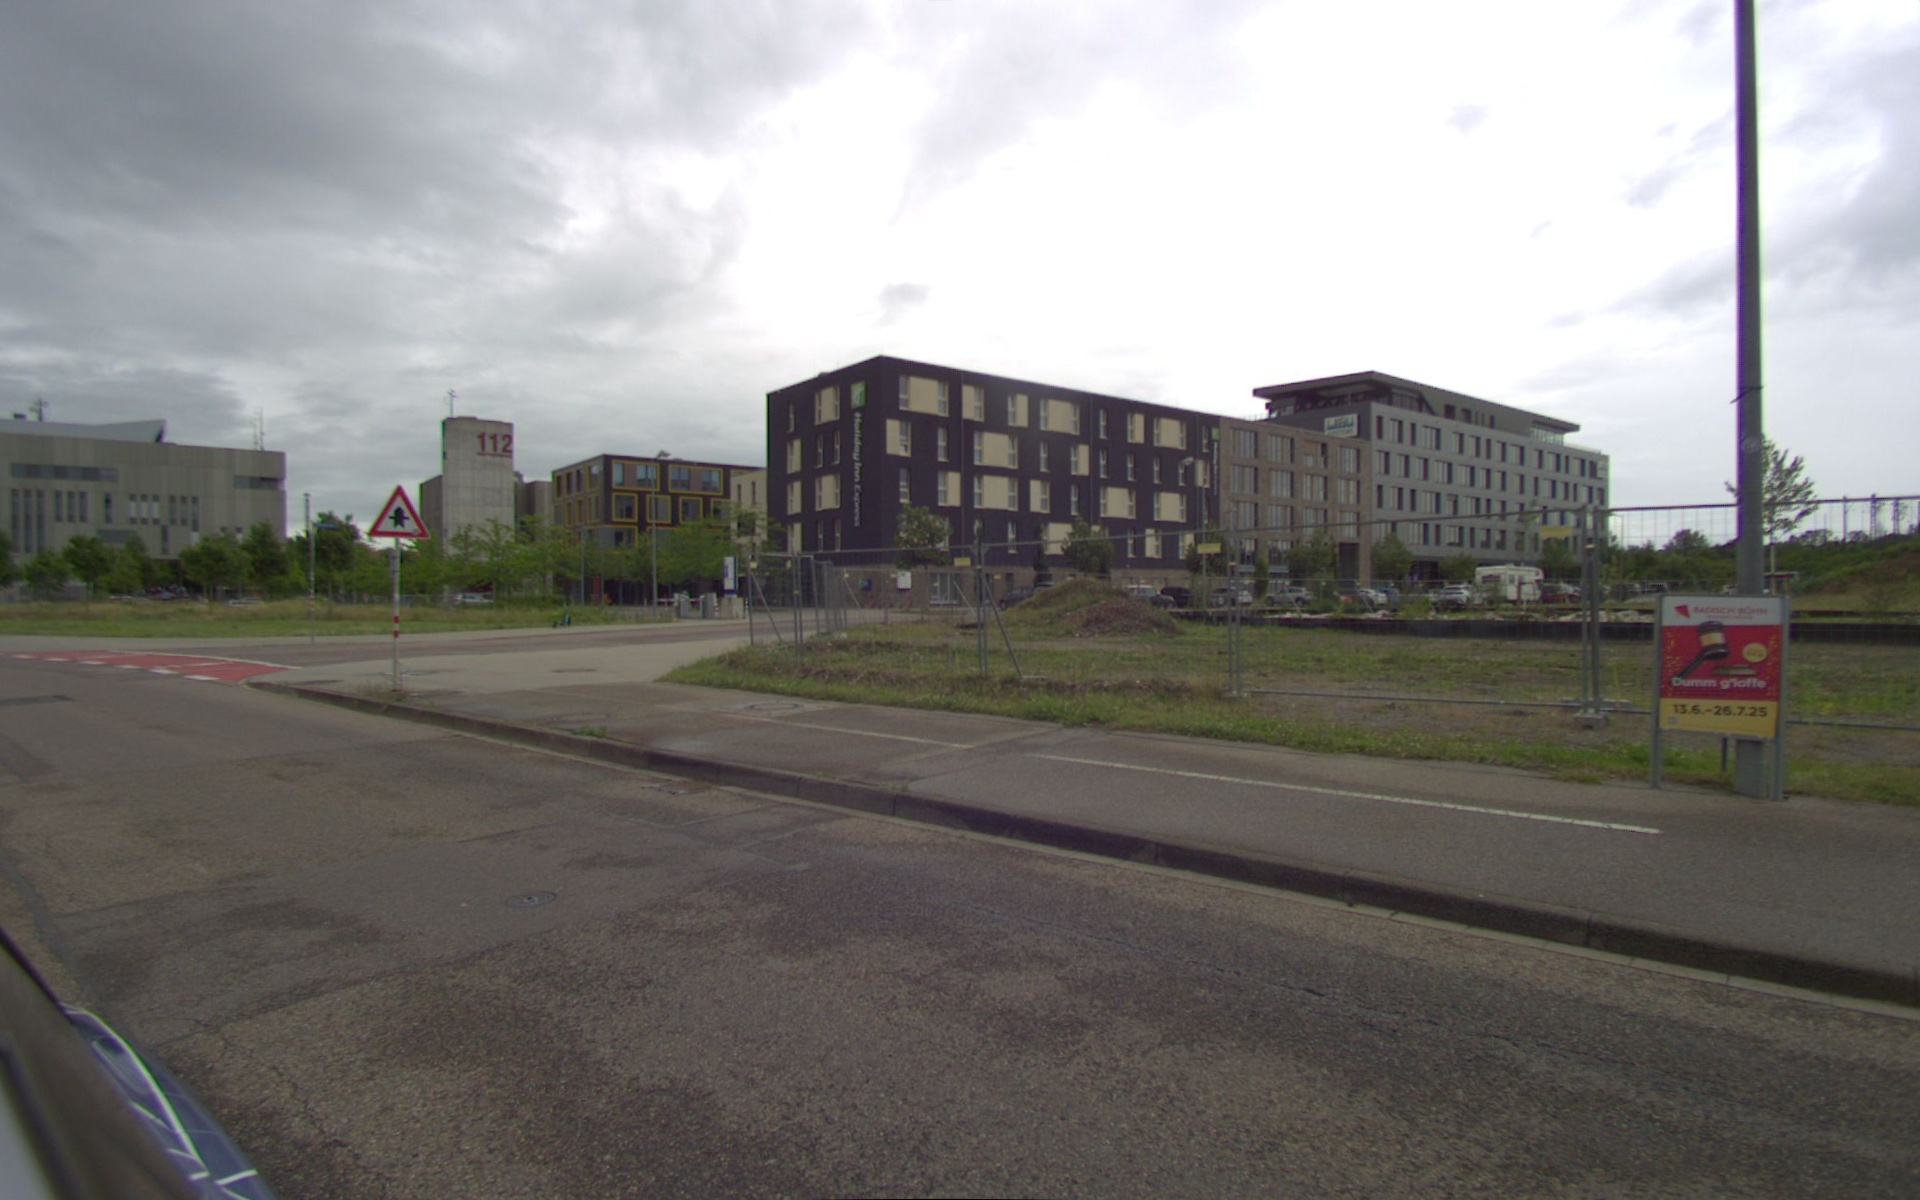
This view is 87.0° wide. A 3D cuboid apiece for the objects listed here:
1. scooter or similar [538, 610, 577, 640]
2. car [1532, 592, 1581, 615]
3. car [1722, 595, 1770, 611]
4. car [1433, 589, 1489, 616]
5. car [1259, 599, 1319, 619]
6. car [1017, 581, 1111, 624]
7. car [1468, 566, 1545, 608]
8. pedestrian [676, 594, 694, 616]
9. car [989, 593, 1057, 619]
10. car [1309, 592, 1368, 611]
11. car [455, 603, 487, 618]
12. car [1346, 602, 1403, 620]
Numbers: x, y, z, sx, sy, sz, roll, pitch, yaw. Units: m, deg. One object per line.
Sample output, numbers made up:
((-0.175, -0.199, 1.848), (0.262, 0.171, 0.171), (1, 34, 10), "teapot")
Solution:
((-16.313, 1.009, 41.064), (0.568, 1.177, 1.455), (-1, 1, 25), "scooter or similar")
((47.939, 0.279, 81.330), (4.454, 1.852, 2.004), (-1, 0, -40), "car")
((86.201, 0.377, 110.959), (4.000, 1.630, 1.972), (-2, -1, 43), "car")
((35.160, 0.182, 71.002), (3.936, 1.760, 2.004), (-1, -1, -39), "car")
((24.834, 0.699, 76.413), (1.718, 1.469, 4.005), (-1, 0, -41), "car")
((4.779, 0.101, 46.316), (3.936, 1.836, 2.004), (-1, -1, -38), "car")
((41.240, -0.970, 76.268), (6.471, 2.979, 2.720), (-1, -1, -39), "car")
((-20.636, 0.371, 75.837), (0.873, 1.582, 0.943), (-2, -1, 34), "pedestrian")
((3.668, 0.361, 59.288), (1.672, 1.453, 4.006), (-1, -1, -40), "car")
((29.989, 0.097, 80.275), (1.718, 1.469, 4.005), (-1, 0, -41), "car")
((-51.487, 1.100, 106.505), (1.970, 1.535, 4.003), (1, -2, -44), "car")
((34.309, 0.913, 83.897), (1.718, 1.469, 4.005), (-1, 0, -41), "car")
